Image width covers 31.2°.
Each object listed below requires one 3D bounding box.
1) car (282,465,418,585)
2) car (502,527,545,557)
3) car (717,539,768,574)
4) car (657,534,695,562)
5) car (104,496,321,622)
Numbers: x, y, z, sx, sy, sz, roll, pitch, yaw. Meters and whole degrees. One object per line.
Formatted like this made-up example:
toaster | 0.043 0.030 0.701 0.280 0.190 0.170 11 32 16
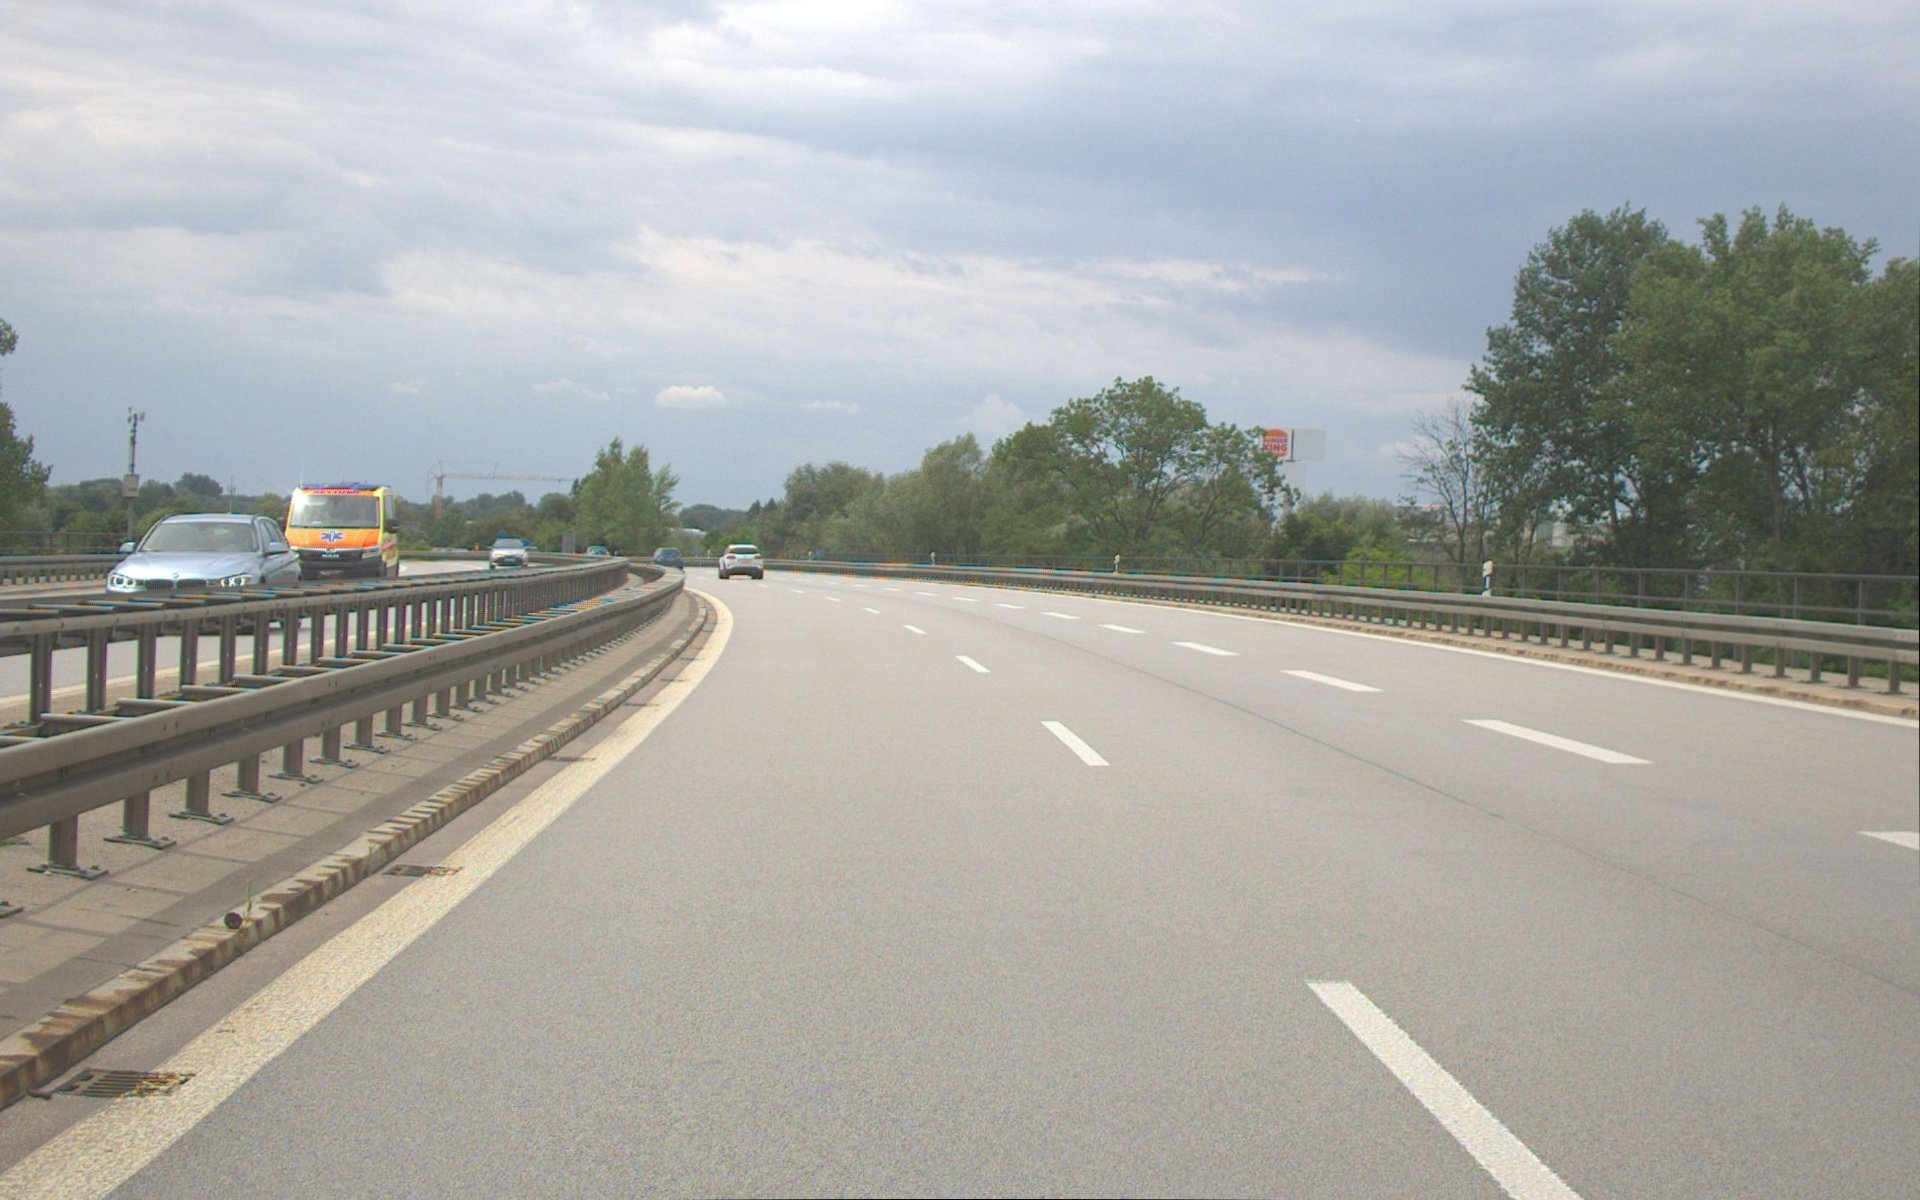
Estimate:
car | -12.380 -1.525 70.173 1.993 2.285 6.399 1 1 -4
car | -20.884 -2.785 164.588 1.772 1.382 4.388 1 1 -5
car | -10.465 -2.092 165.002 1.902 1.634 4.397 1 1 -11
car | -17.376 -3.208 210.093 1.892 1.634 4.623 1 1 -10
car | -9.031 -0.518 41.840 1.729 1.401 4.250 2 1 -1
